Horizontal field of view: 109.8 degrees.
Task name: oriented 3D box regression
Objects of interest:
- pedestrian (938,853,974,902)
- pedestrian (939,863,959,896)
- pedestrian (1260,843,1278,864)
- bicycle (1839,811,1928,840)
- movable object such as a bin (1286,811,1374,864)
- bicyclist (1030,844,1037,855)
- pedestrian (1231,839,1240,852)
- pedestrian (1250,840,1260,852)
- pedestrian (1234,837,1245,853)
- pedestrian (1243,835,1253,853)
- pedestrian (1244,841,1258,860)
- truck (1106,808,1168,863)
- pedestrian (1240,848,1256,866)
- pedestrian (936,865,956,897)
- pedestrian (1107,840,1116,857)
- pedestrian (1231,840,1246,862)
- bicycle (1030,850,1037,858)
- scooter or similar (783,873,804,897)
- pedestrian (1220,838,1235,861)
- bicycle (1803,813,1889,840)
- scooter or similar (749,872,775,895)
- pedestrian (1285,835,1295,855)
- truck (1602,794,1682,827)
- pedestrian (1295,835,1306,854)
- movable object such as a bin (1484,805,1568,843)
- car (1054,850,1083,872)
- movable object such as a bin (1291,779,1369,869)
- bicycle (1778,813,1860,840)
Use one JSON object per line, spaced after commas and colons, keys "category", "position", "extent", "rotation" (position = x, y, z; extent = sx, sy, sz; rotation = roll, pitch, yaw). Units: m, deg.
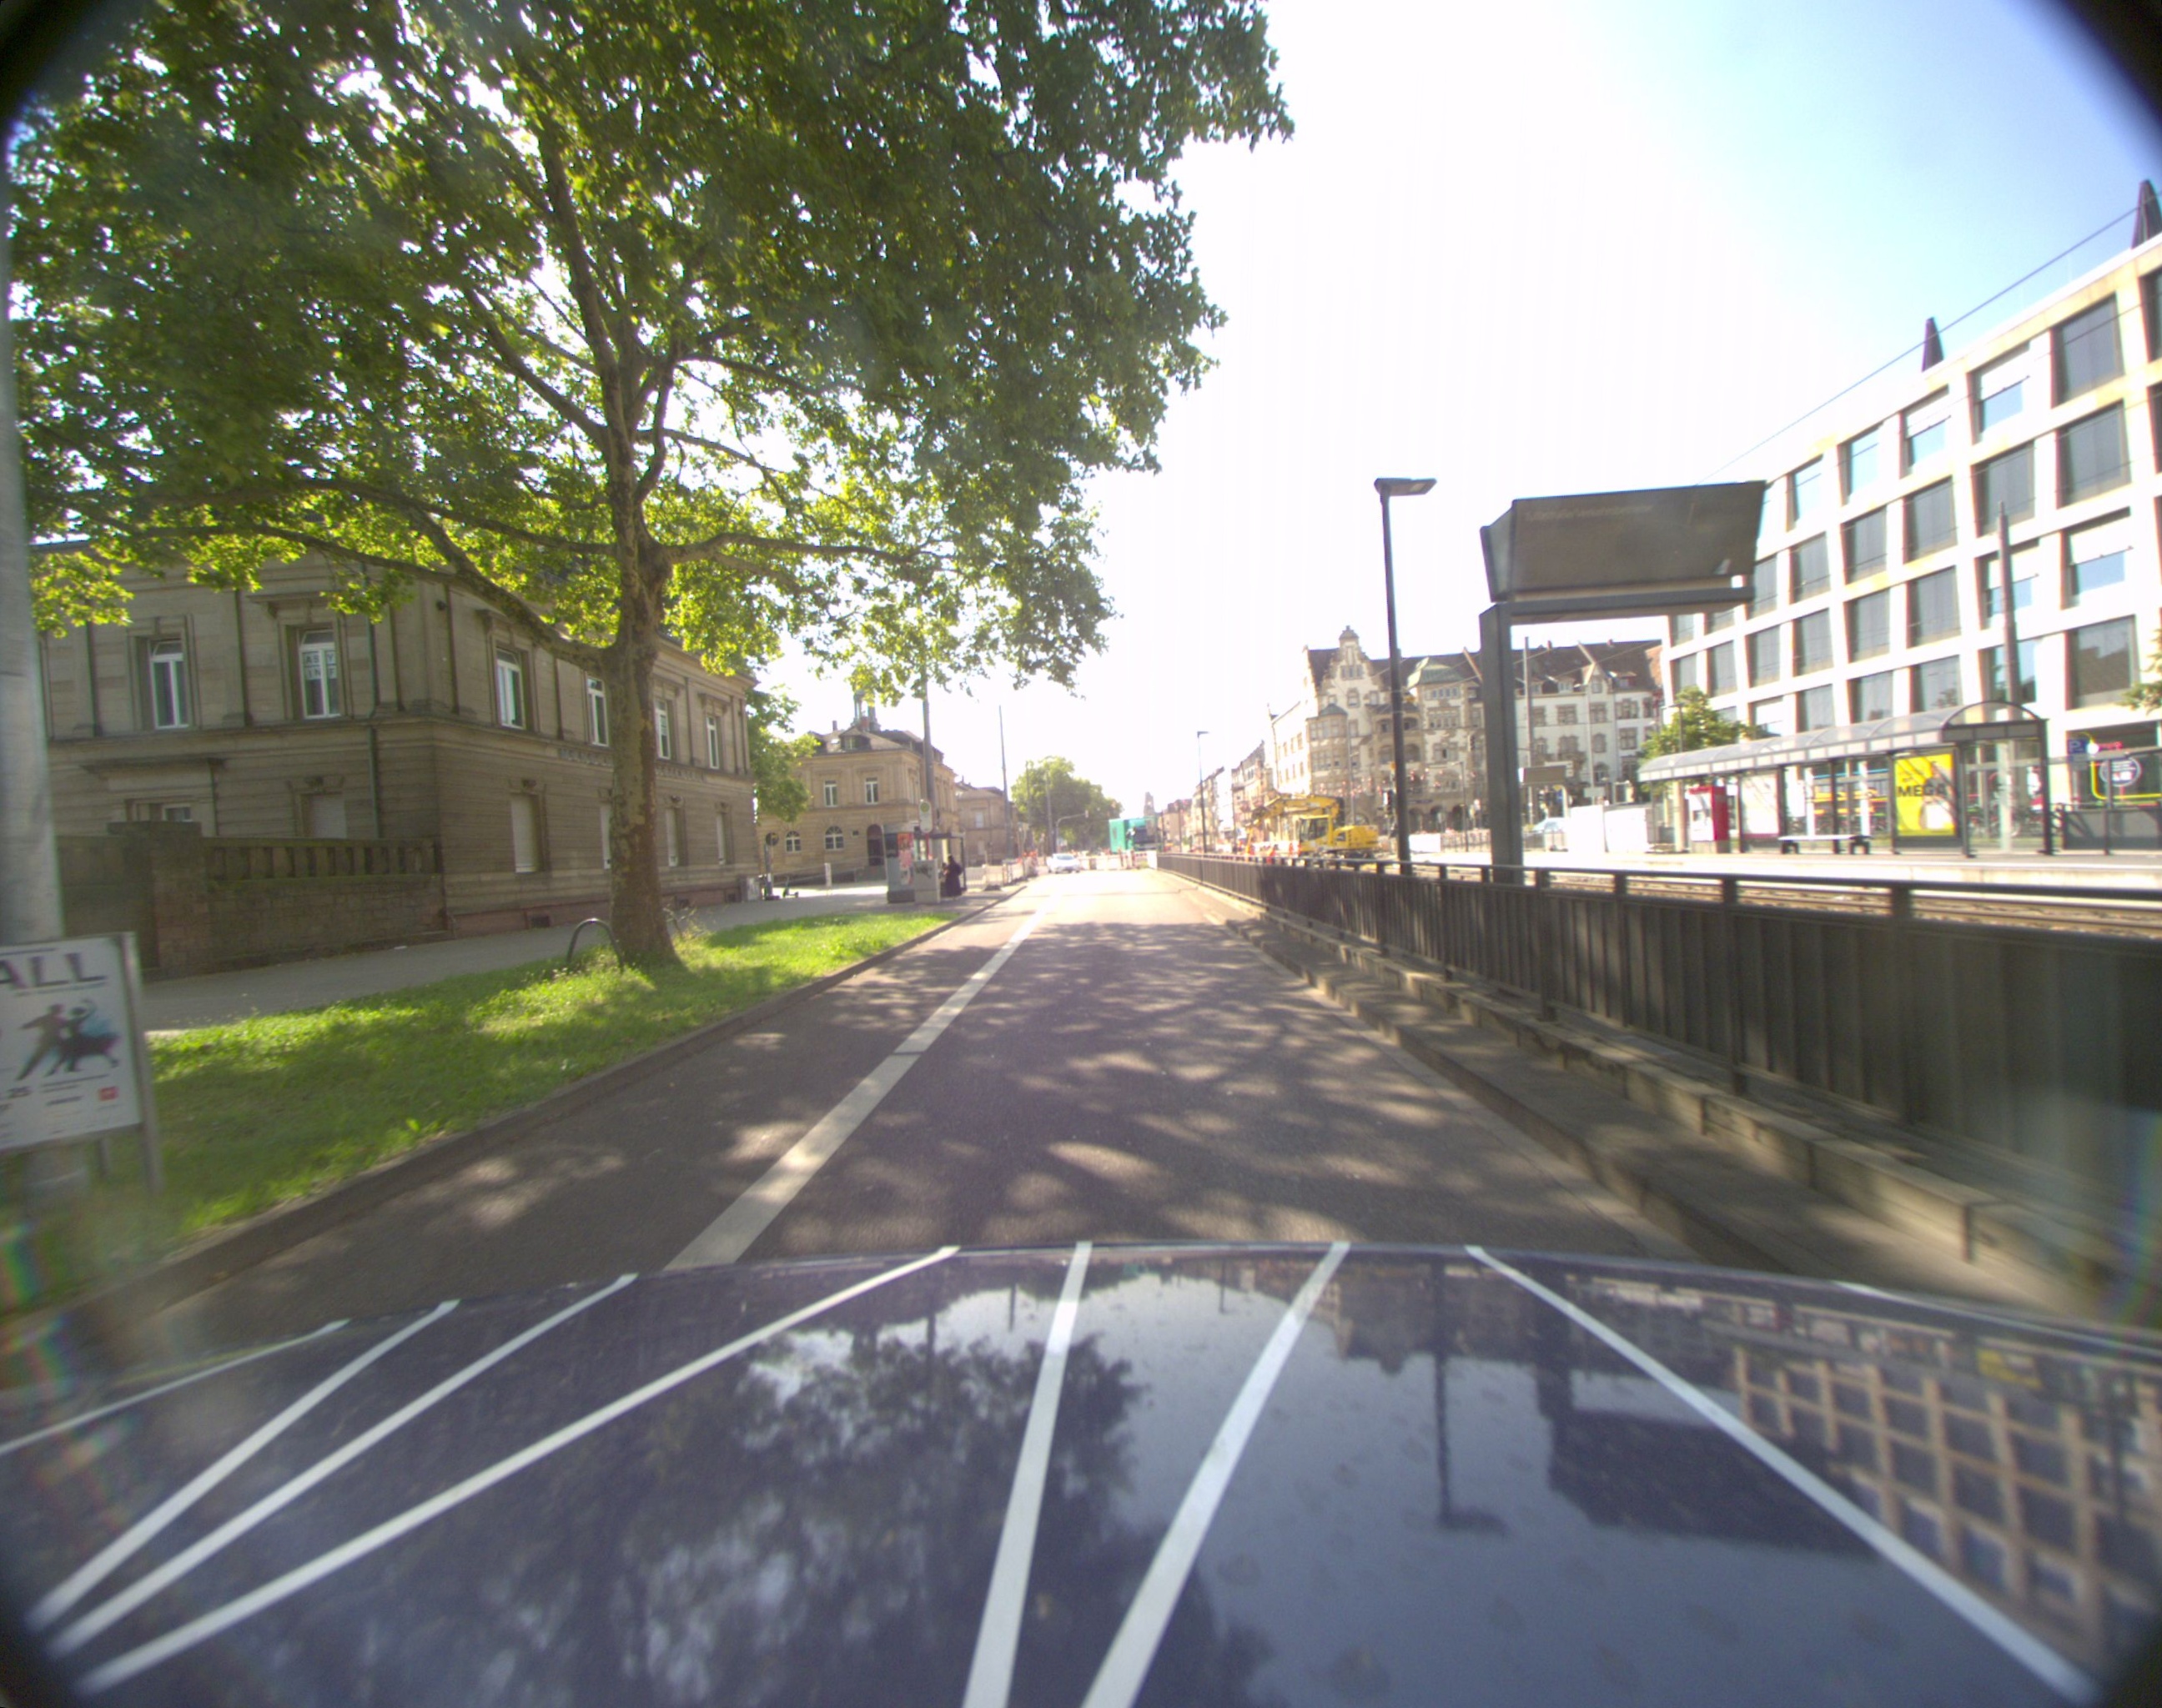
{"category": "pedestrian", "position": [-4.344, 0.811, 26.457], "extent": [0.885, 1.616, 0.821], "rotation": [-4, 1, -34]}
{"category": "pedestrian", "position": [-5.295, 1.008, 30.552], "extent": [0.610, 1.270, 0.759], "rotation": [-2, 1, 0]}
{"category": "pedestrian", "position": [10.624, -0.027, 42.917], "extent": [0.701, 1.148, 0.589], "rotation": [-3, 1, 42]}
{"category": "bicycle", "position": [31.032, -1.108, 29.403], "extent": [2.436, 0.962, 0.945], "rotation": [-3, 1, 0]}
{"category": "movable object such as a bin", "position": [16.457, -1.066, 50.400], "extent": [4.126, 3.204, 3.564], "rotation": [-3, 0, -13]}
{"category": "bicyclist", "position": [-6.852, -0.659, 109.755], "extent": [0.736, 1.616, 0.853], "rotation": [-3, 1, 3]}
{"category": "pedestrian", "position": [14.542, -0.806, 71.487], "extent": [0.678, 1.240, 0.547], "rotation": [-3, 1, 1]}
{"category": "pedestrian", "position": [16.953, -0.784, 74.004], "extent": [0.731, 1.177, 0.866], "rotation": [-1, 2, -5]}
{"category": "pedestrian", "position": [15.426, -0.862, 73.966], "extent": [0.754, 1.548, 0.735], "rotation": [-4, 1, -40]}
{"category": "pedestrian", "position": [16.116, -0.935, 73.220], "extent": [0.752, 1.692, 0.678], "rotation": [-3, 1, 1]}
{"category": "pedestrian", "position": [10.940, -0.218, 48.853], "extent": [0.701, 1.171, 0.703], "rotation": [-3, 1, 23]}
{"category": "truck", "position": [4.092, -1.320, 57.782], "extent": [2.817, 3.766, 9.009], "rotation": [-3, 0, -7]}
{"category": "pedestrian", "position": [9.232, 0.184, 42.092], "extent": [0.702, 0.949, 0.882], "rotation": [-3, 1, 3]}
{"category": "pedestrian", "position": [-5.283, 1.051, 29.729], "extent": [0.610, 1.211, 0.574], "rotation": [-2, 1, 0]}
{"category": "pedestrian", "position": [3.486, -0.644, 86.453], "extent": [0.921, 1.830, 0.801], "rotation": [-3, 1, -4]}
{"category": "pedestrian", "position": [9.943, -0.192, 47.938], "extent": [0.701, 1.327, 0.838], "rotation": [-3, 1, 23]}
{"category": "bicycle", "position": [-6.818, -0.025, 109.804], "extent": [0.743, 1.026, 2.132], "rotation": [-3, 1, 3]}
{"category": "scooter or similar", "position": [-14.726, 1.593, 38.970], "extent": [0.409, 1.159, 1.226], "rotation": [-3, 1, 7]}
{"category": "pedestrian", "position": [9.547, -0.275, 49.641], "extent": [0.741, 1.470, 0.704], "rotation": [-3, 1, 24]}
{"category": "bicycle", "position": [31.029, -1.106, 30.840], "extent": [2.436, 0.962, 1.020], "rotation": [-3, 1, 0]}
{"category": "scooter or similar", "position": [-16.227, 1.509, 38.644], "extent": [1.094, 1.126, 0.312], "rotation": [-3, 1, -1]}
{"category": "pedestrian", "position": [18.552, -0.805, 67.521], "extent": [0.740, 1.692, 0.759], "rotation": [-3, 1, 21]}
{"category": "truck", "position": [57.294, -4.420, 77.707], "extent": [6.036, 2.799, 2.691], "rotation": [-3, 1, 0]}
{"category": "pedestrian", "position": [19.436, -0.847, 67.313], "extent": [0.741, 1.692, 0.758], "rotation": [-3, 1, 1]}
{"category": "movable object such as a bin", "position": [37.492, -2.508, 64.130], "extent": [5.515, 2.774, 2.490], "rotation": [-4, 2, 3]}
{"category": "car", "position": [-0.885, 0.495, 56.556], "extent": [1.843, 1.451, 4.000], "rotation": [-3, 1, 3]}
{"category": "movable object such as a bin", "position": [13.690, -1.585, 42.116], "extent": [2.993, 4.528, 4.213], "rotation": [-3, 0, 4]}
{"category": "bicycle", "position": [31.128, -1.150, 32.074], "extent": [2.436, 0.962, 1.020], "rotation": [-3, 1, 0]}
